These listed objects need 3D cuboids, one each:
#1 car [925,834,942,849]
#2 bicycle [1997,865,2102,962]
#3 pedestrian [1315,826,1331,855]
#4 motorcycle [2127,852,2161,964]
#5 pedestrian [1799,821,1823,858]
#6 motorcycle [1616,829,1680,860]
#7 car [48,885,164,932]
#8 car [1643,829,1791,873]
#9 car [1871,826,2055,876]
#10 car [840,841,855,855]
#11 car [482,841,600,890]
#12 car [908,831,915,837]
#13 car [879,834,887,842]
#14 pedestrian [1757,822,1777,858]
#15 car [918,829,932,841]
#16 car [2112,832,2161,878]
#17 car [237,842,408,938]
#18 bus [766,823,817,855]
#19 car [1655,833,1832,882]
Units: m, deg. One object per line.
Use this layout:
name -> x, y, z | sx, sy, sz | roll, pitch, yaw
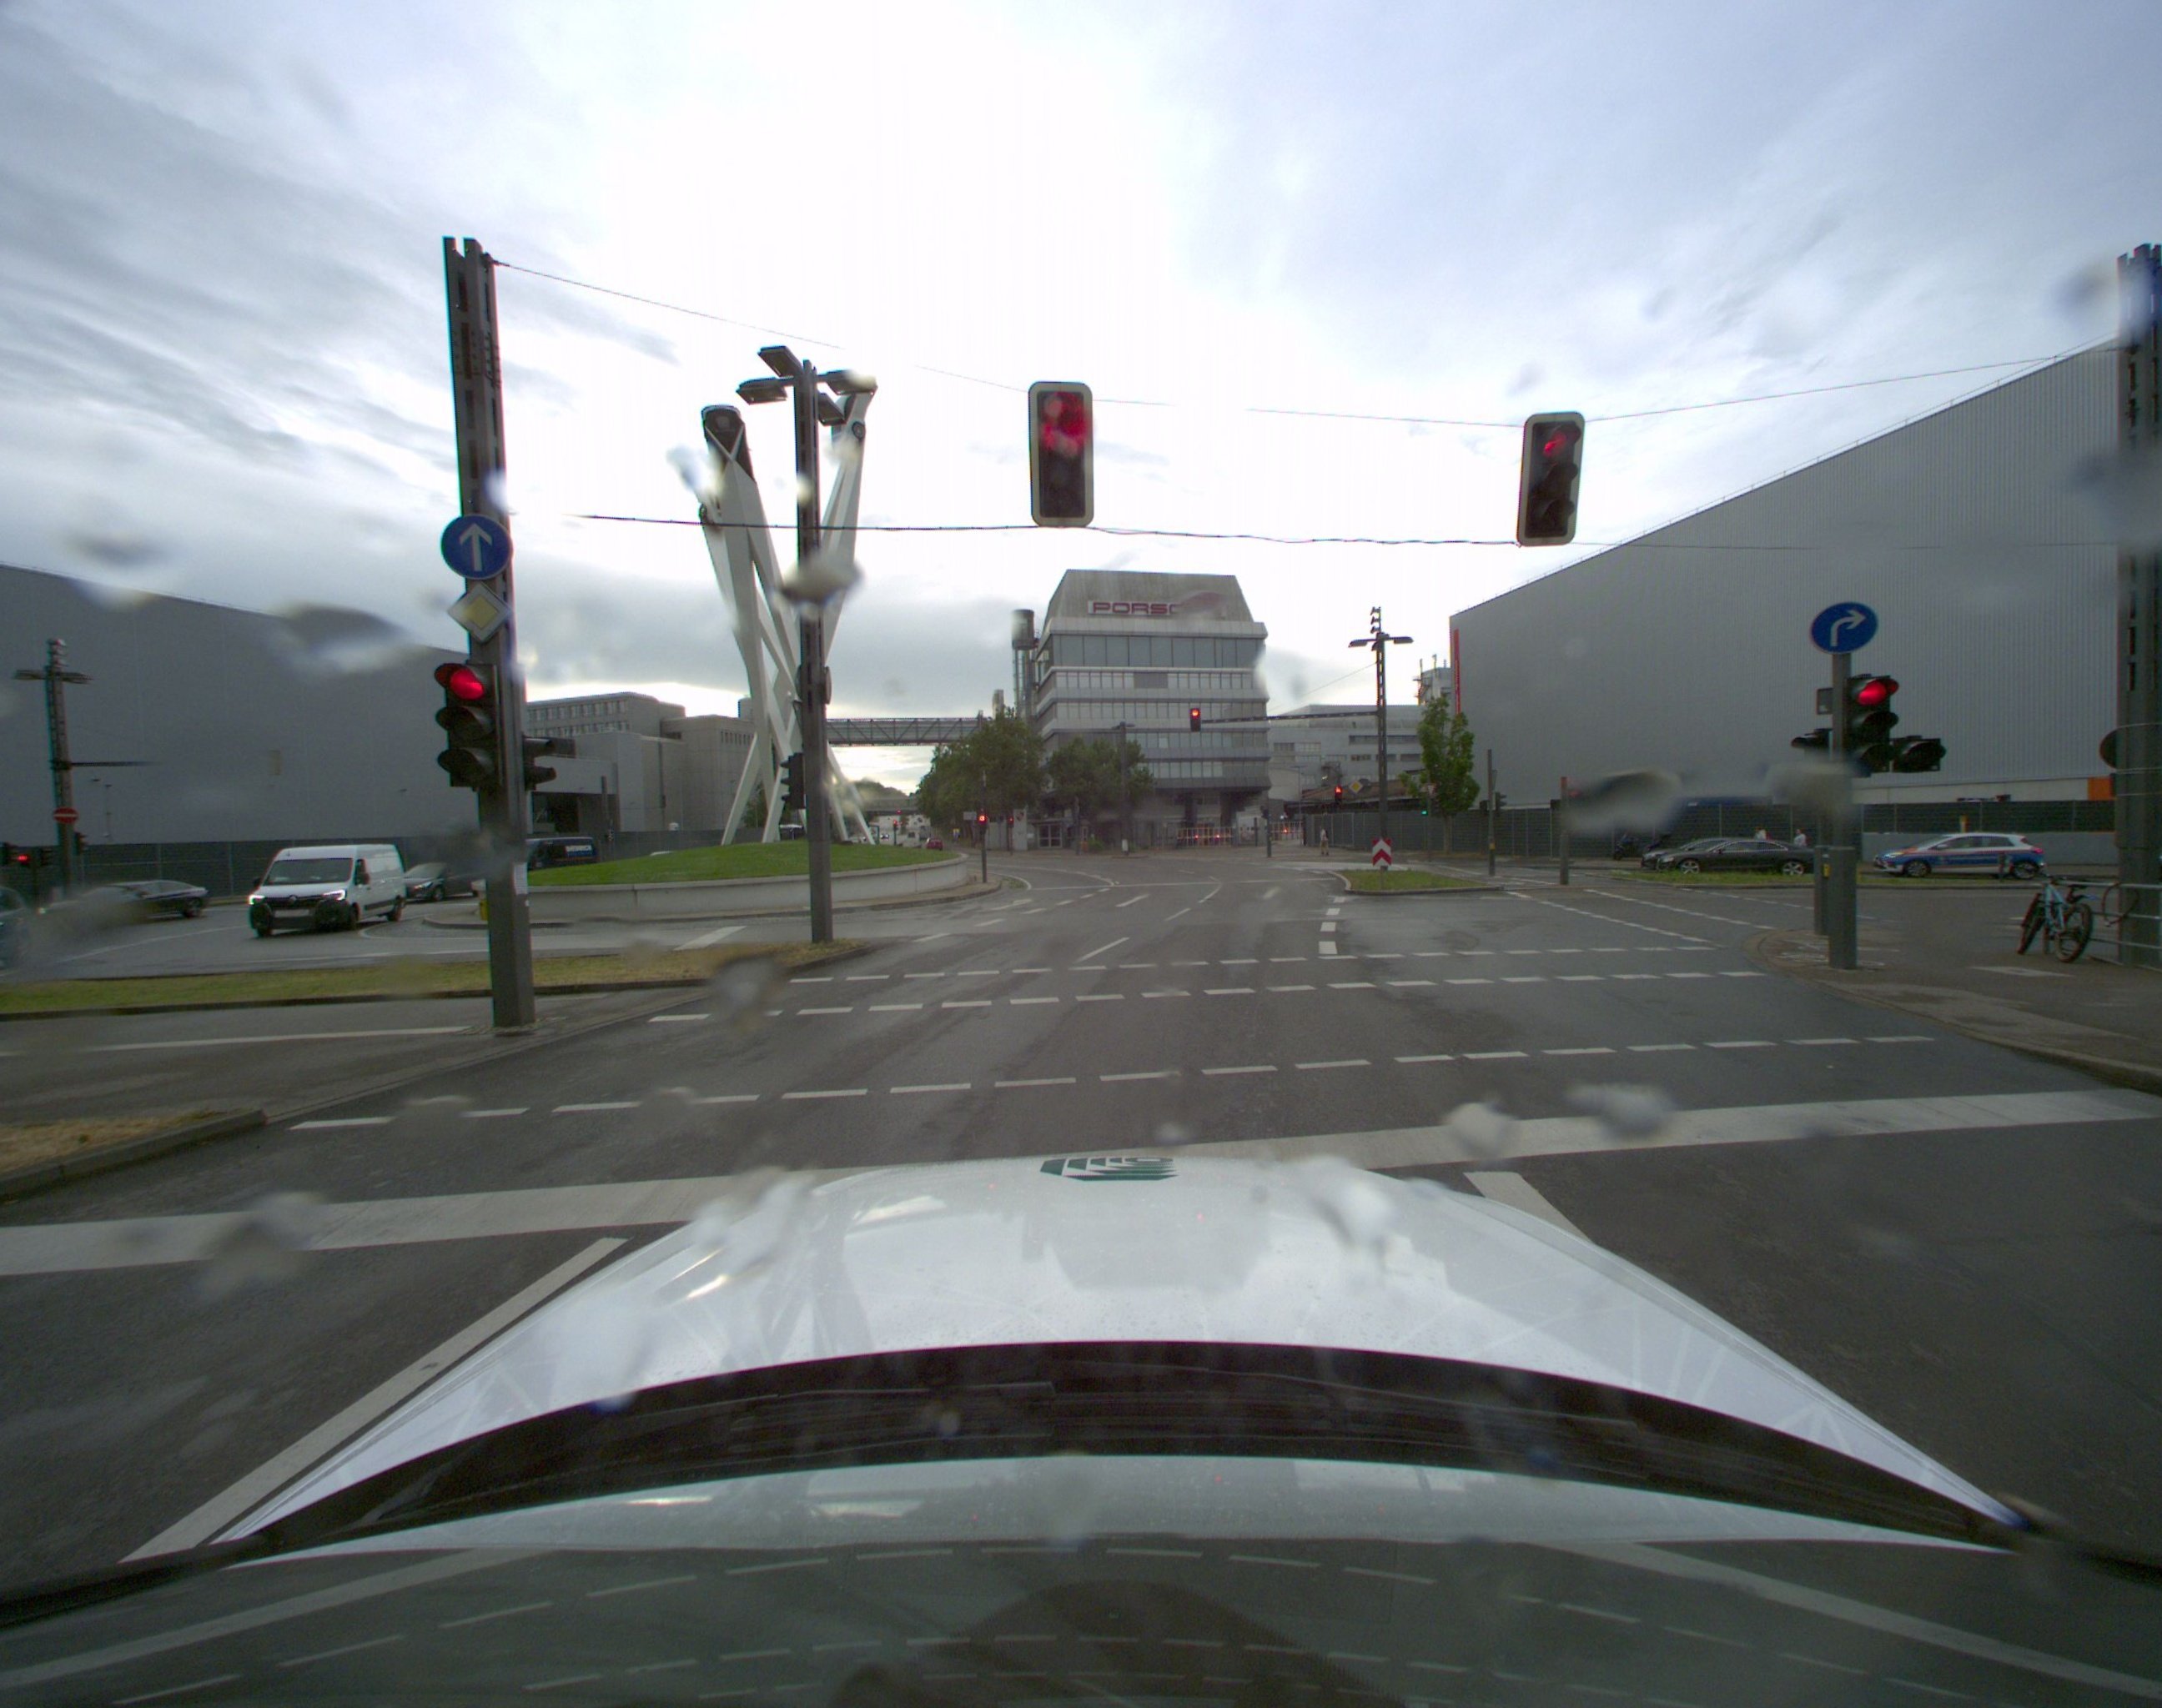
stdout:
car -> -16.018, -1.325, 88.481 | 1.772, 1.464, 3.720 | -2, -1, -9
bicycle -> 12.377, 0.716, 10.450 | 0.381, 1.098, 1.762 | -2, 0, 35
pedestrian -> 14.254, -0.790, 47.924 | 0.801, 1.611, 0.773 | -2, -1, 19
motorcycle -> 15.132, 0.687, 10.386 | 2.213, 1.452, 0.759 | -1, 0, 12
pedestrian -> 29.636, -0.567, 33.054 | 0.642, 1.481, 0.442 | -1, 0, 35
motorcycle -> 25.686, -0.430, 36.956 | 2.330, 1.344, 0.657 | -1, 0, 30
car -> -33.568, 1.823, 28.166 | 1.849, 1.338, 4.197 | -2, 0, -40
car -> 24.027, -0.143, 30.987 | 4.244, 1.539, 1.769 | 0, 2, 31
car -> 30.202, -0.115, 28.088 | 3.930, 1.601, 1.924 | 0, 1, 31
car -> -33.405, -0.829, 116.462 | 1.645, 2.013, 3.746 | -1, 1, -10
car -> -33.278, 0.641, 50.561 | 1.957, 2.820, 7.139 | -2, 0, 6
car -> -39.792, -4.639, 190.862 | 1.558, 1.288, 3.399 | -2, -1, -12
car -> -44.564, -3.631, 183.513 | 1.629, 1.816, 3.717 | -1, 1, -13
pedestrian -> 28.782, -0.580, 34.183 | 0.605, 1.481, 0.426 | -1, 0, 37
car -> -30.191, -3.647, 157.609 | 2.238, 2.108, 4.925 | -1, -1, -17
car -> 35.275, 0.032, 25.095 | 3.949, 1.392, 1.769 | 0, 2, 31
car -> -22.197, 0.952, 24.160 | 2.003, 2.447, 5.382 | -2, 1, -24
bus -> -31.329, -1.548, 88.814 | 2.667, 3.200, 12.634 | -1, 0, -8
car -> 22.609, 0.083, 28.037 | 4.525, 1.539, 1.769 | 0, 2, 31
